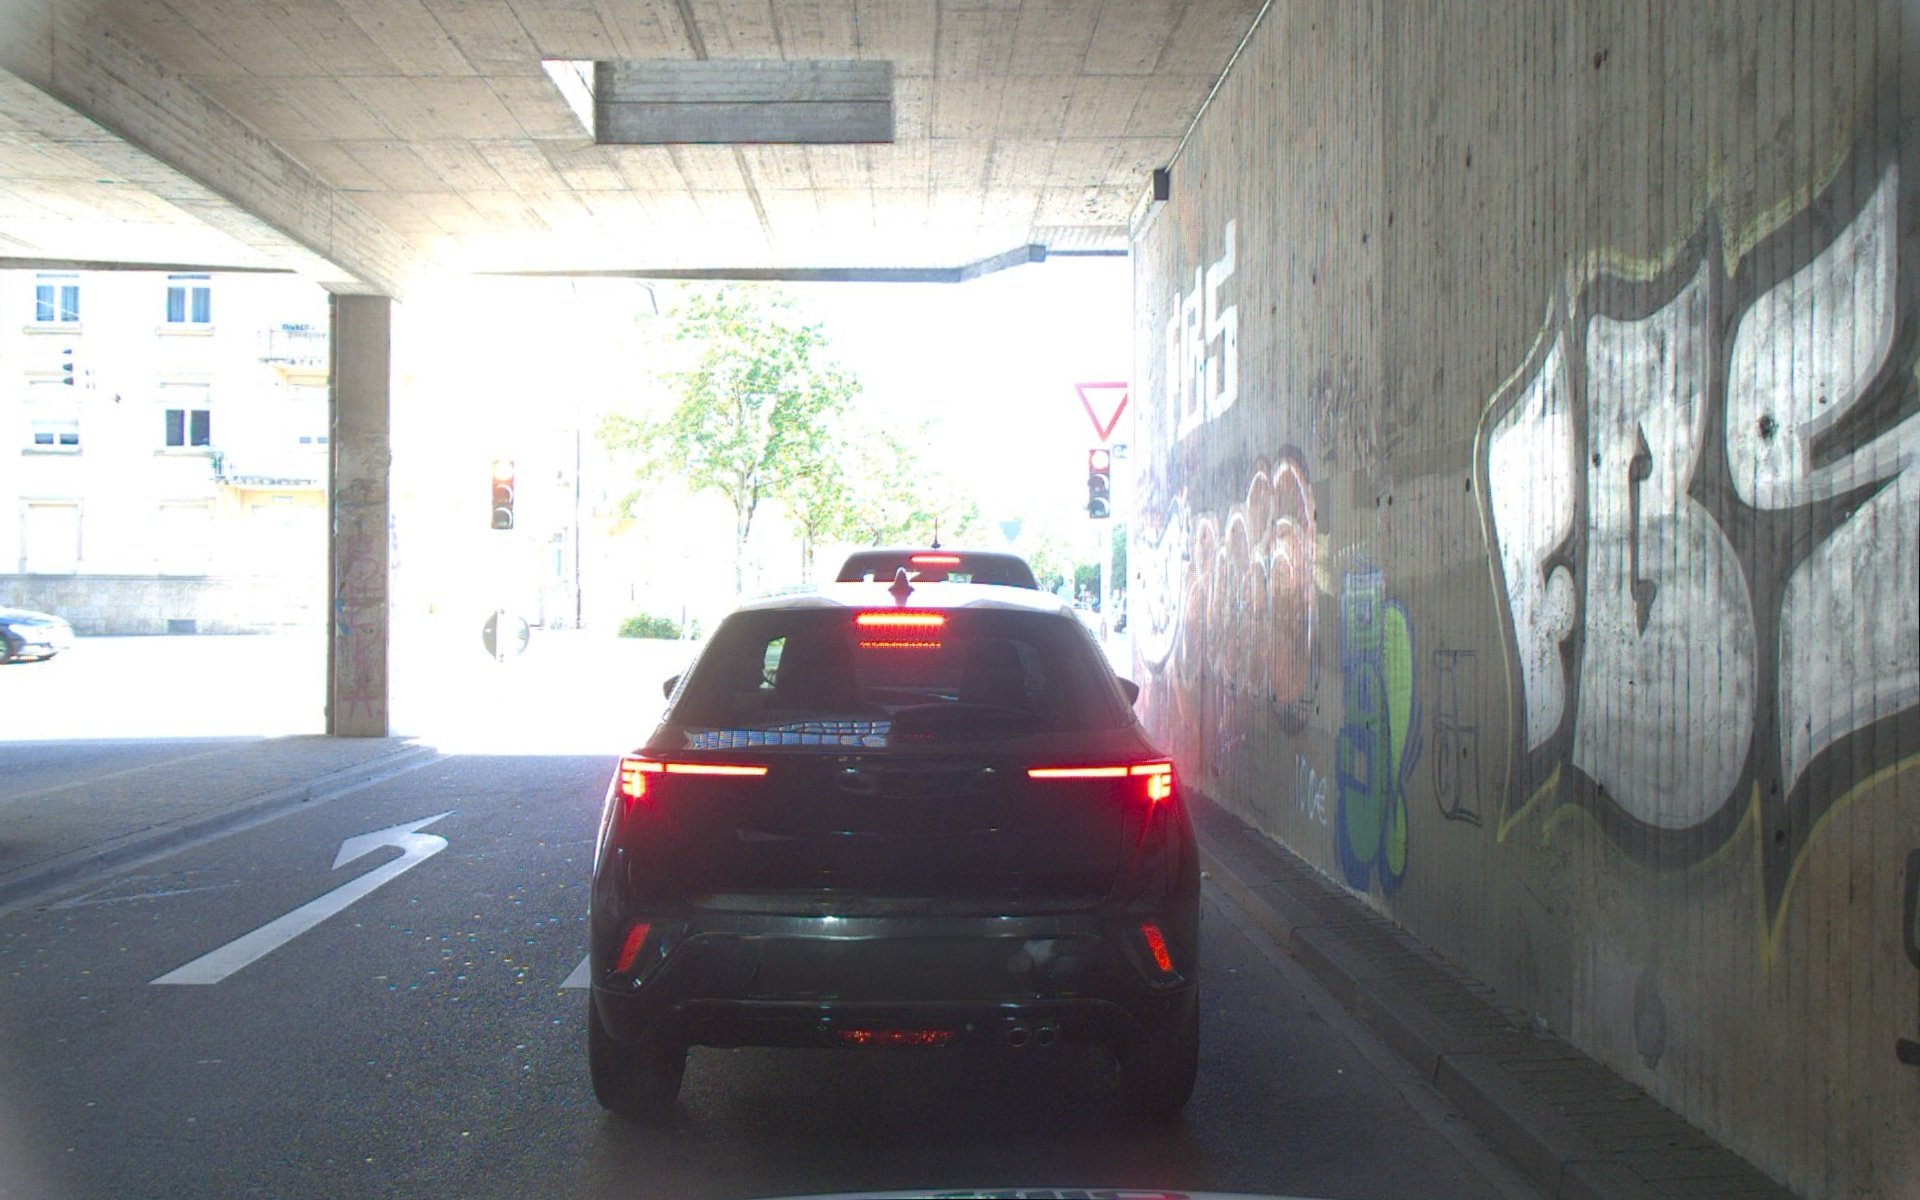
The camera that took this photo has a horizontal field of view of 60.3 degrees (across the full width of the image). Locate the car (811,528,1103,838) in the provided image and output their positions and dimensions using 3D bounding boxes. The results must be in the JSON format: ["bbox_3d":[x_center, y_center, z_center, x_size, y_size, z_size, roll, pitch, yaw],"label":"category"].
[{"bbox_3d":[-0.039,0.496,12.038,1.749,1.865,3.960,1,0,-1],"label":"car"}]

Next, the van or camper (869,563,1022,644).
[{"bbox_3d":[-0.351,0.083,43.372,3.795,2.049,2.002,0,0,7],"label":"van or camper"}]

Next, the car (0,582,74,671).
[{"bbox_3d":[-19.545,0.473,31.178,4.620,1.560,2.001,0,2,3],"label":"car"}]

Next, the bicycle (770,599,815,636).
[{"bbox_3d":[-5.274,0.544,52.249,0.721,1.150,2.027,0,0,16],"label":"bicycle"}]

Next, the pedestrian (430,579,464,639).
[{"bbox_3d":[-15.045,0.251,48.496,0.610,1.734,0.723,1,-1,19],"label":"pedestrian"}]

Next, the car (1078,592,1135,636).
[{"bbox_3d":[5.787,0.539,65.903,1.952,1.670,4.593,0,0,1],"label":"car"}]

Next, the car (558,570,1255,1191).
[{"bbox_3d":[-0.146,0.693,6.138,1.718,1.525,4.000,1,0,-1],"label":"car"}]

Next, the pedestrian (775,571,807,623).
[{"bbox_3d":[-5.317,-0.086,52.111,0.720,1.612,0.891,1,-1,15],"label":"pedestrian"}]
